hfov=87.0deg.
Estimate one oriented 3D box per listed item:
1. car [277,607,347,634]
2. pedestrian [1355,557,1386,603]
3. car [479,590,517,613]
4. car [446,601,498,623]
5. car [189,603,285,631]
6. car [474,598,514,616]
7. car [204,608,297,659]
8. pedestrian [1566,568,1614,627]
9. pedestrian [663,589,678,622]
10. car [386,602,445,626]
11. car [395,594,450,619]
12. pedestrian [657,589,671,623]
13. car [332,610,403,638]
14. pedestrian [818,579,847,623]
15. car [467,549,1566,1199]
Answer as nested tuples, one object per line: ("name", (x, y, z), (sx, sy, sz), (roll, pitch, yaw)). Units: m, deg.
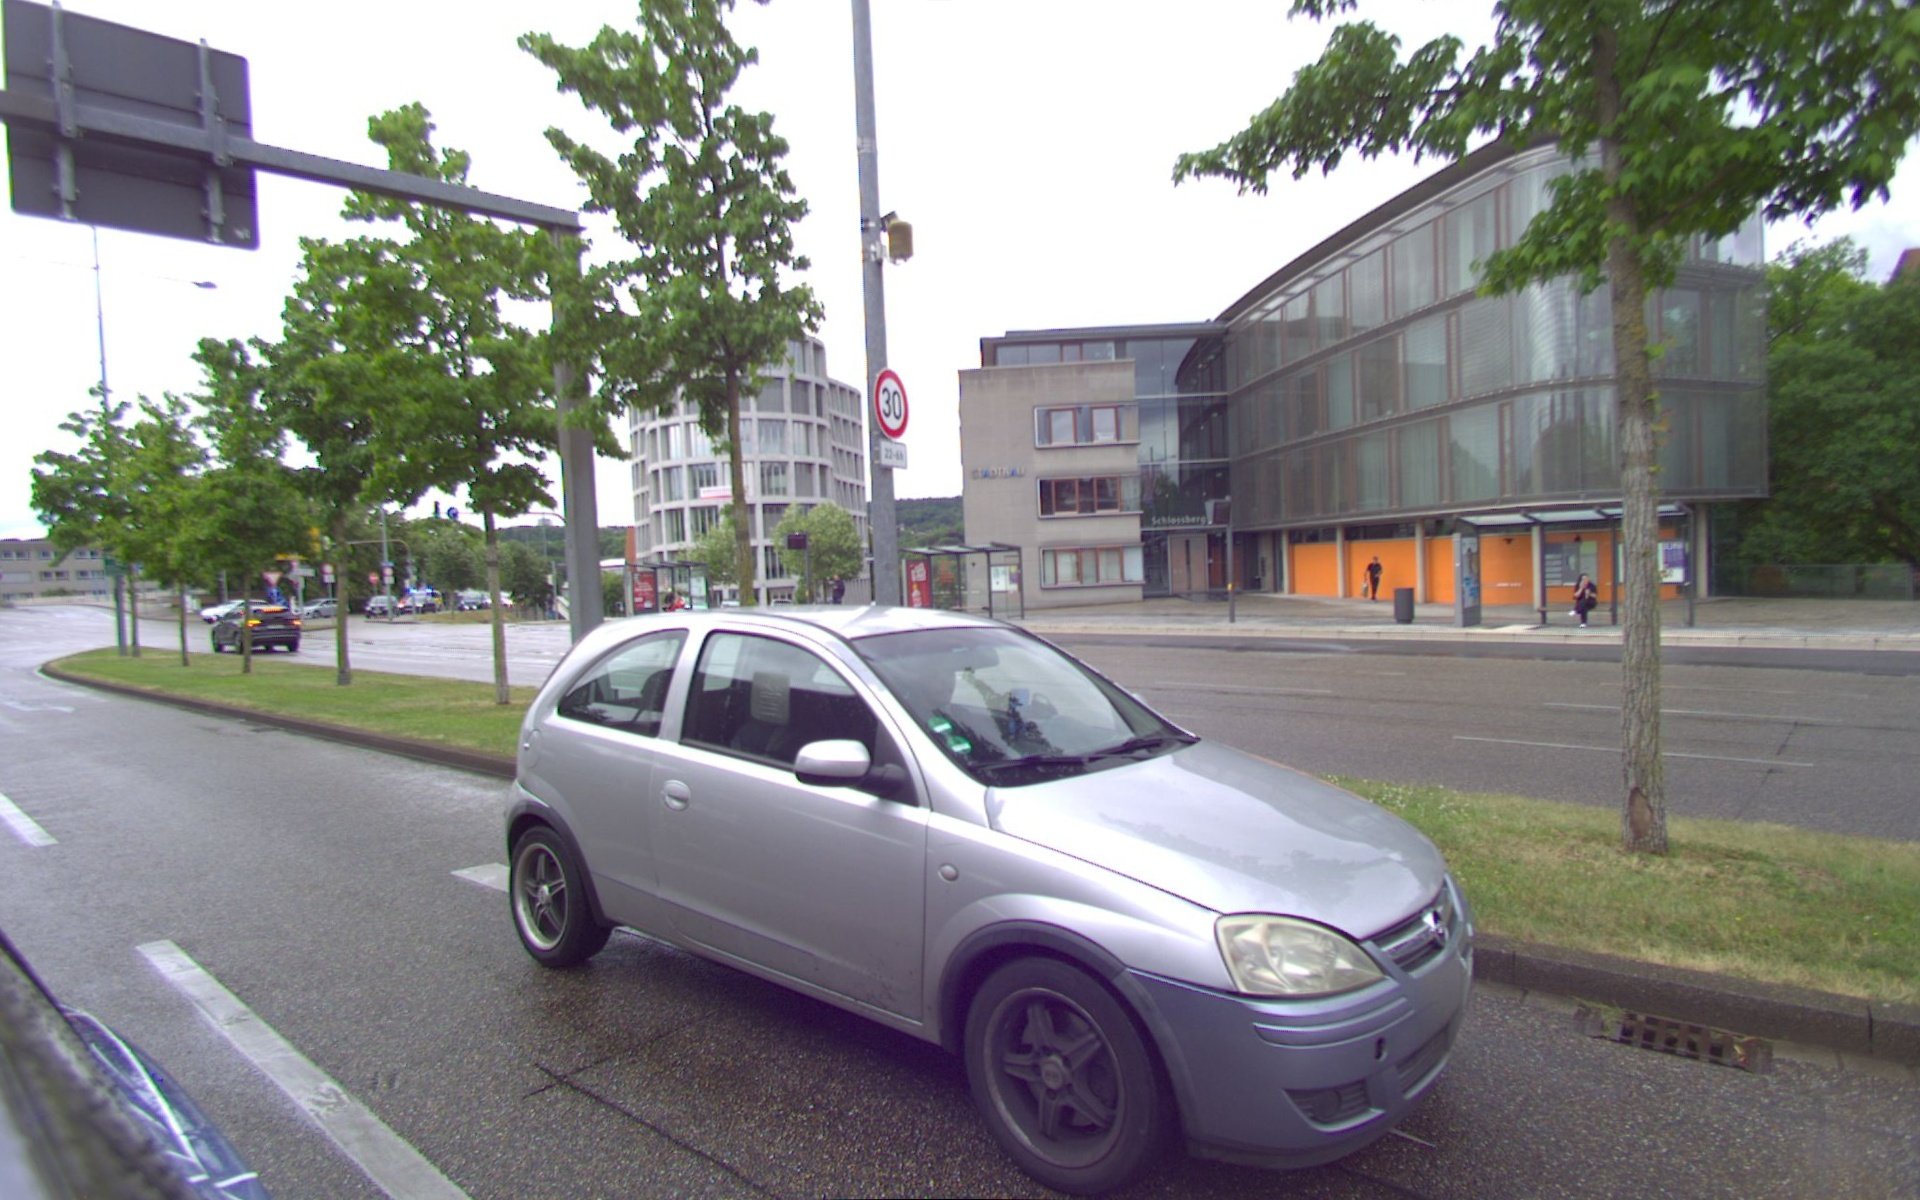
("car", (-47.185, 1.445, 73.794), (1.981, 1.807, 3.983), (-1, 0, 14))
("pedestrian", (15.287, -0.738, 37.688), (0.697, 1.666, 0.852), (-1, 0, -6))
("car", (-43.681, 0.148, 95.757), (1.969, 2.029, 4.005), (-2, 0, -6))
("car", (-41.052, 0.981, 85.317), (2.164, 1.725, 4.920), (-1, 0, -3))
("car", (-48.804, 1.123, 68.448), (2.179, 1.725, 4.885), (-1, 0, 19))
("car", (-47.936, 0.681, 104.265), (2.163, 1.725, 4.922), (-1, 0, -5))
("car", (-25.323, 1.144, 36.056), (4.600, 1.652, 1.802), (-1, 1, 43))
("pedestrian", (14.616, -0.051, 23.474), (0.790, 1.334, 0.793), (-1, 0, 42))
("pedestrian", (-14.551, 0.294, 50.894), (0.535, 1.647, 0.514), (-1, 0, 41))
("car", (-42.635, 1.062, 79.416), (2.164, 1.725, 4.919), (-1, 0, -3))
("car", (-46.484, 0.551, 87.657), (2.276, 2.029, 5.038), (-1, 0, -3))
("pedestrian", (-14.722, 0.300, 50.326), (0.501, 1.647, 0.497), (-1, 0, 41))
("car", (-41.080, 1.609, 70.292), (2.164, 1.725, 4.919), (-1, 0, -3))
("pedestrian", (-5.220, 0.036, 41.497), (0.964, 1.773, 0.783), (-1, 0, 12))
("car", (-0.111, 0.652, 3.653), (3.733, 1.469, 1.607), (-1, 0, 40))
